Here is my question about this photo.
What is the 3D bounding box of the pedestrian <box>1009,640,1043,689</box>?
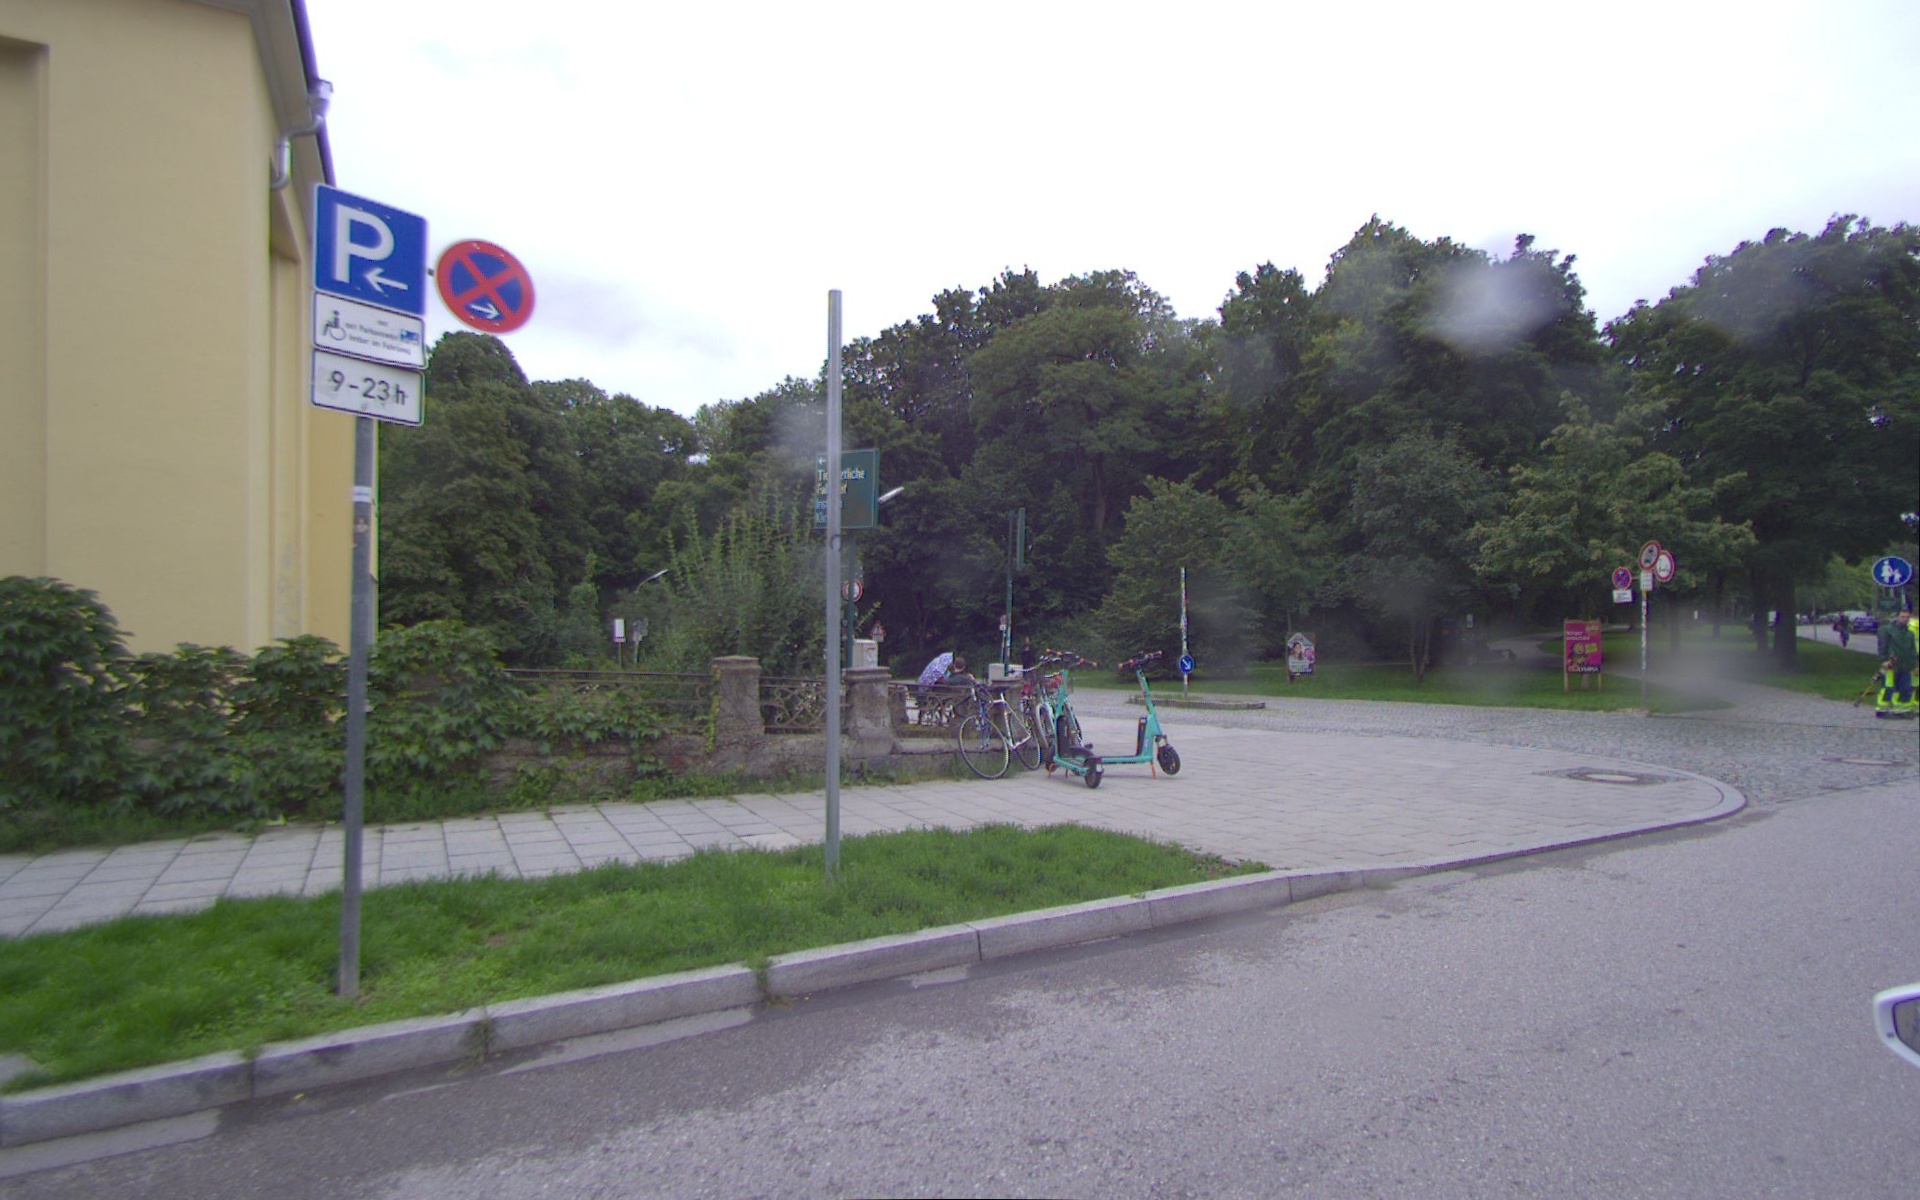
[{"bbox_3d":[2.379,2.317,36.111,0.879,1.710,0.939,1,-2,-27],"label":"pedestrian"}]

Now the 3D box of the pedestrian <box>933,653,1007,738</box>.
[{"bbox_3d":[0.167,1.588,16.971,0.985,1.347,0.769,1,-2,-36],"label":"pedestrian"}]

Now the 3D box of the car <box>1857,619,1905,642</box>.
[{"bbox_3d":[67.971,2.249,74.185,1.966,1.627,3.989,0,-2,33],"label":"car"}]

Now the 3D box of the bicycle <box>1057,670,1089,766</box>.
[{"bbox_3d":[1.358,1.370,11.966,0.295,1.003,1.585,0,-2,9],"label":"bicycle"}]

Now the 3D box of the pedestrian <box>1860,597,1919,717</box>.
[{"bbox_3d":[16.590,0.977,17.608,0.944,2.040,0.929,0,-1,-25],"label":"pedestrian"}]

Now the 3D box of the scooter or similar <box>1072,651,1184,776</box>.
[{"bbox_3d":[1.688,1.129,10.142,1.096,1.204,0.345,0,0,9],"label":"scooter or similar"}]

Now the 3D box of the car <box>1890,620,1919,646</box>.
[{"bbox_3d":[61.761,2.121,64.794,1.966,1.627,3.989,0,-2,33],"label":"car"}]

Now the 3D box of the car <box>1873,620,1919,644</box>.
[{"bbox_3d":[64.872,2.185,69.481,1.966,1.627,3.989,0,-2,33],"label":"car"}]

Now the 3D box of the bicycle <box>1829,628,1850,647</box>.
[{"bbox_3d":[47.227,1.986,53.948,0.631,0.980,1.988,0,-1,36],"label":"bicycle"}]

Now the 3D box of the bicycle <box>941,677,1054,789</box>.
[{"bbox_3d":[0.389,1.288,10.023,0.536,0.986,1.149,0,-2,40],"label":"bicycle"}]

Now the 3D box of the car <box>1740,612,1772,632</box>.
[{"bbox_3d":[71.773,2.010,90.608,1.967,1.713,3.987,-1,-2,35],"label":"car"}]

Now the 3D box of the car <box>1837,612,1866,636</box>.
[{"bbox_3d":[82.952,2.242,93.453,1.972,2.188,3.977,-1,-2,43],"label":"car"}]

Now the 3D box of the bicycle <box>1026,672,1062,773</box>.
[{"bbox_3d":[0.974,1.364,11.500,0.295,1.003,1.585,0,-2,9],"label":"bicycle"}]

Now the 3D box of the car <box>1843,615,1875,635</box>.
[{"bbox_3d":[77.236,2.149,86.284,1.972,1.627,3.977,-1,-2,43],"label":"car"}]

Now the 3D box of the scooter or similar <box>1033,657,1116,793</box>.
[{"bbox_3d":[1.075,1.157,9.639,0.340,1.203,1.115,0,-2,-19],"label":"scooter or similar"}]

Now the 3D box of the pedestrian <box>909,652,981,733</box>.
[{"bbox_3d":[-0.264,1.592,17.530,0.985,1.347,0.769,1,-2,-36],"label":"pedestrian"}]

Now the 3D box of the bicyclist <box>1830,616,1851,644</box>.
[{"bbox_3d":[47.203,1.591,53.860,0.785,1.490,0.890,0,0,36],"label":"bicyclist"}]

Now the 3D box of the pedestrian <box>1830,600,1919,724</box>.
[{"bbox_3d":[15.690,1.032,17.187,0.944,2.040,0.929,0,-1,-25],"label":"pedestrian"}]

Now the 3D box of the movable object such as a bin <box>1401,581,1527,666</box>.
[{"bbox_3d":[19.769,0.949,39.557,3.919,3.256,2.001,0,-1,5],"label":"movable object such as a bin"}]
